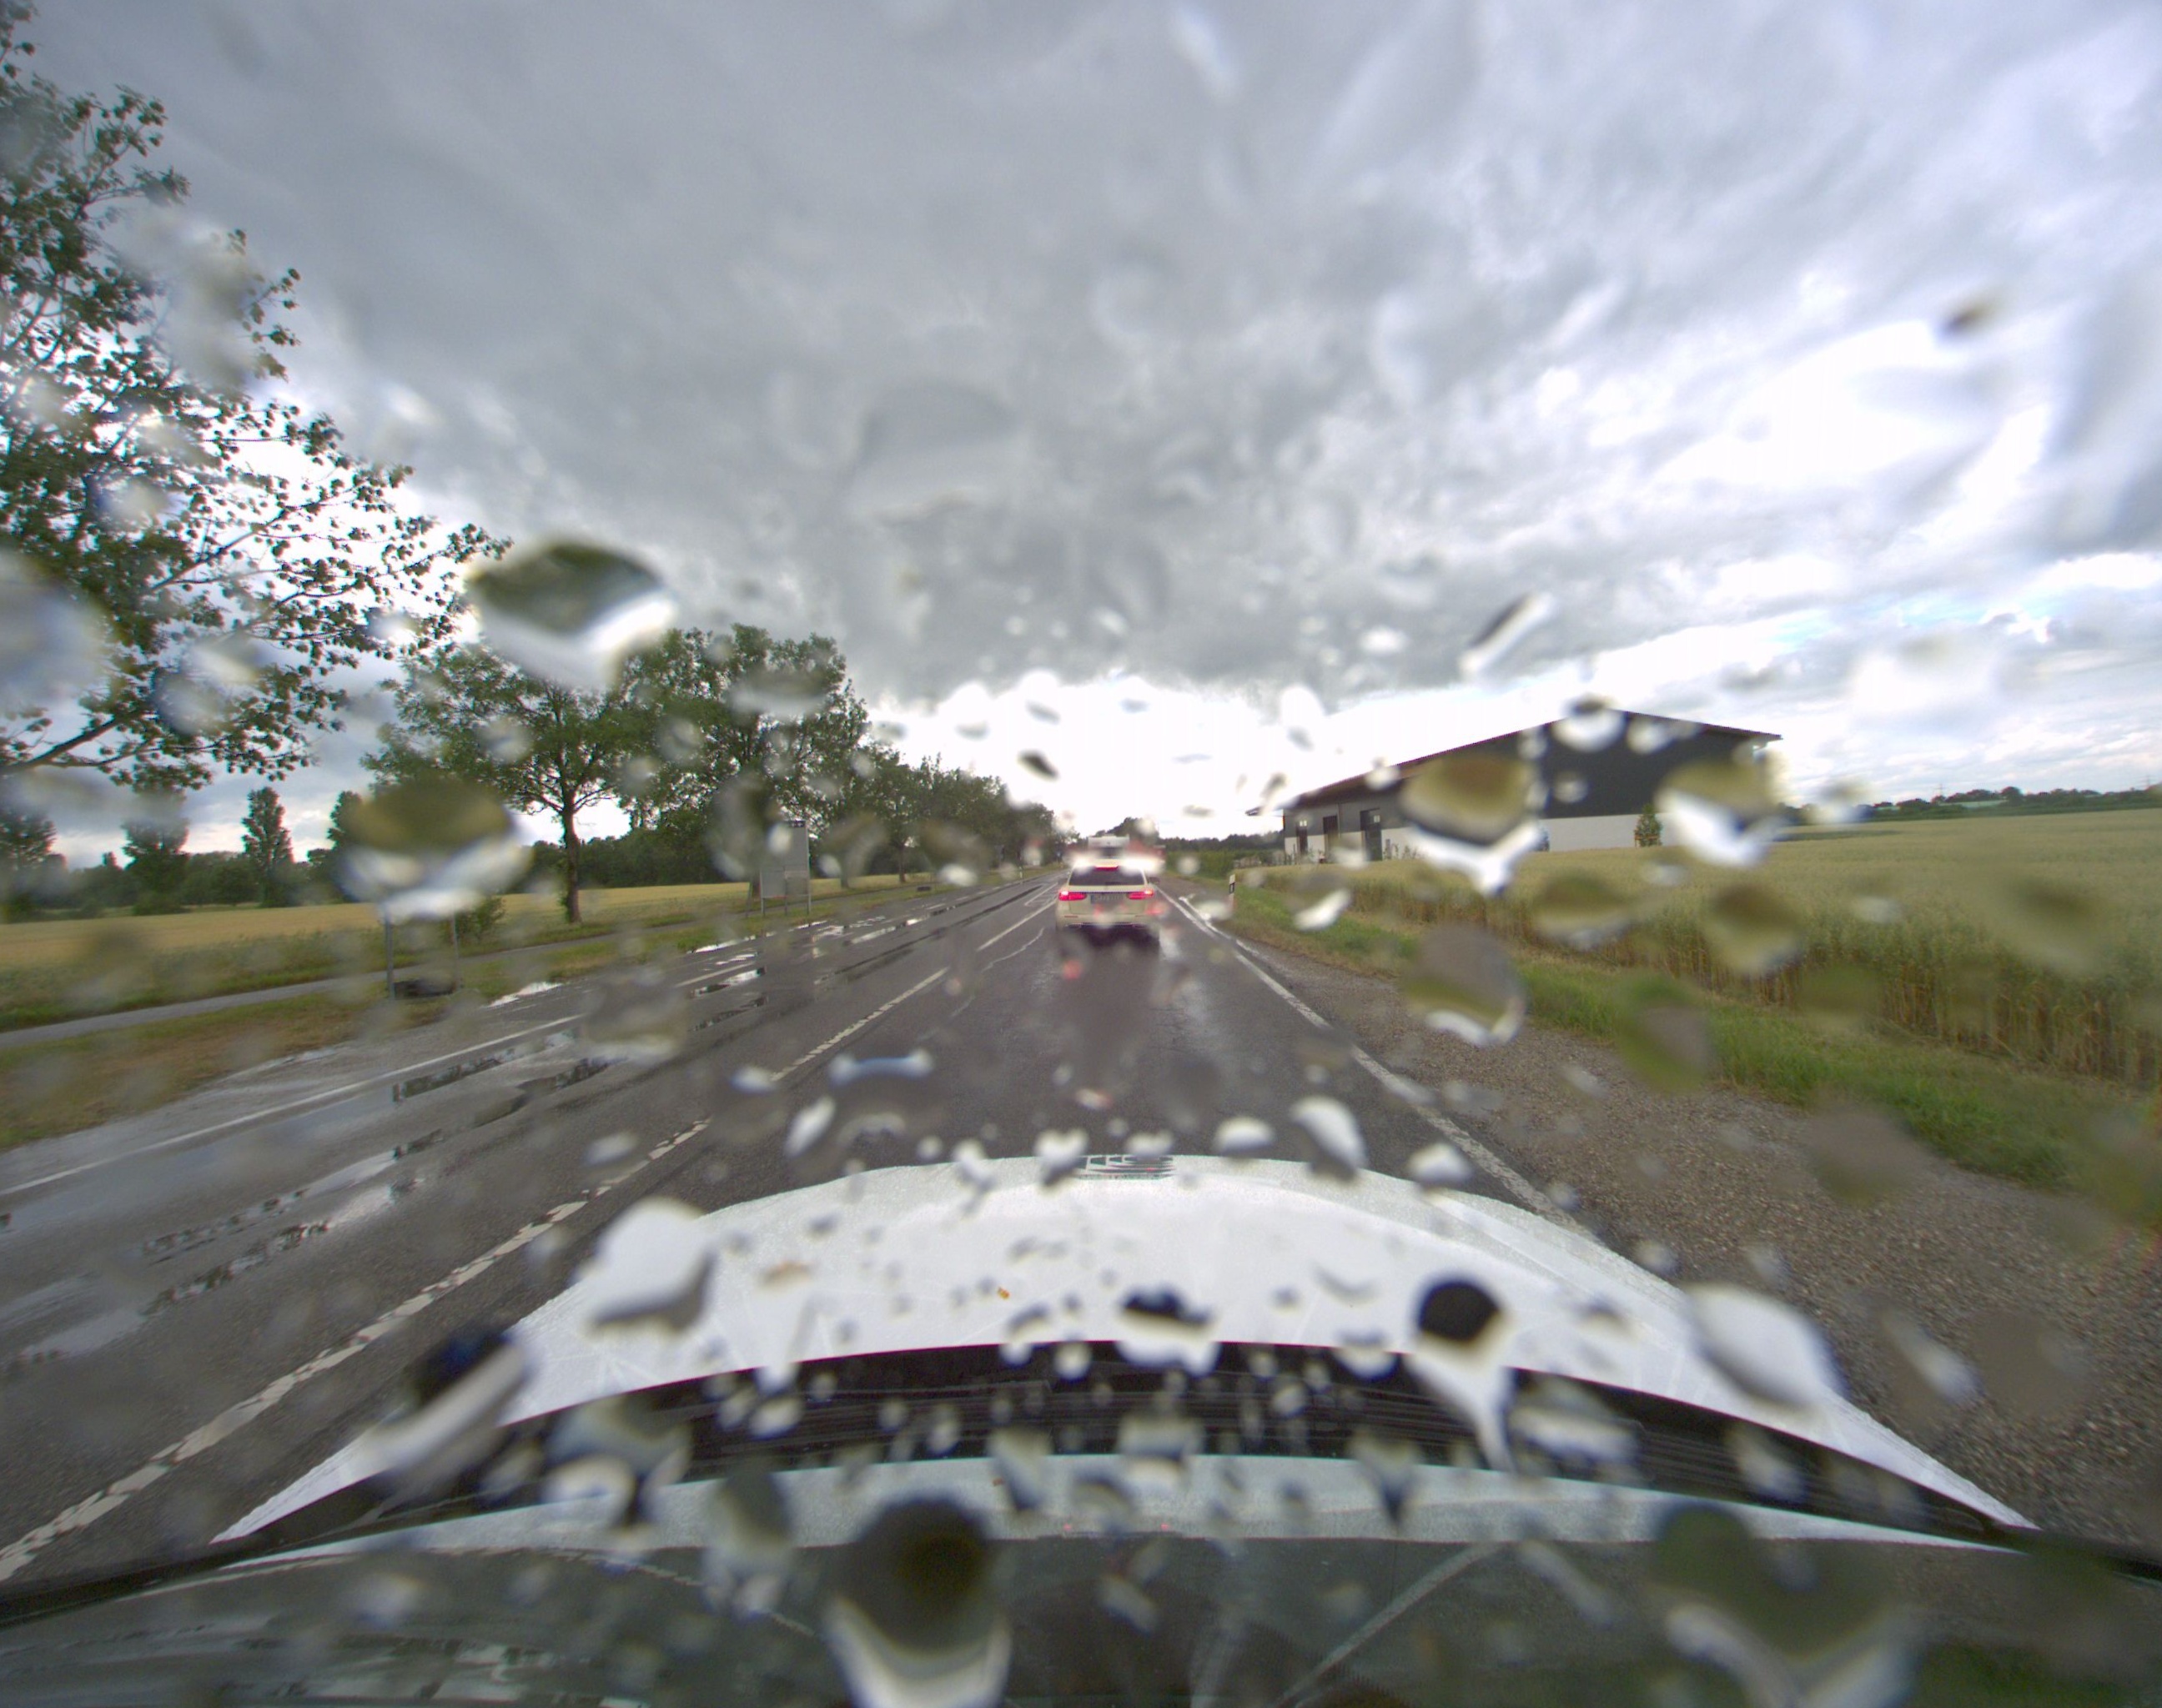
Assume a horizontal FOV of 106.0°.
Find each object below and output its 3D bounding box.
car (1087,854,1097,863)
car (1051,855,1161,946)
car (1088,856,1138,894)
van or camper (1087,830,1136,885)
[{"bbox_3d":[2.325,0.958,174.914,1.909,1.632,4.359,-4,0,2],"label":"car"},{"bbox_3d":[0.507,0.771,15.454,1.790,1.464,4.033,-1,0,3],"label":"car"},{"bbox_3d":[1.286,0.813,33.341,1.887,1.429,3.929,-2,0,2],"label":"car"},{"bbox_3d":[1.787,0.209,46.691,2.486,2.831,5.938,-3,0,3],"label":"van or camper"}]
